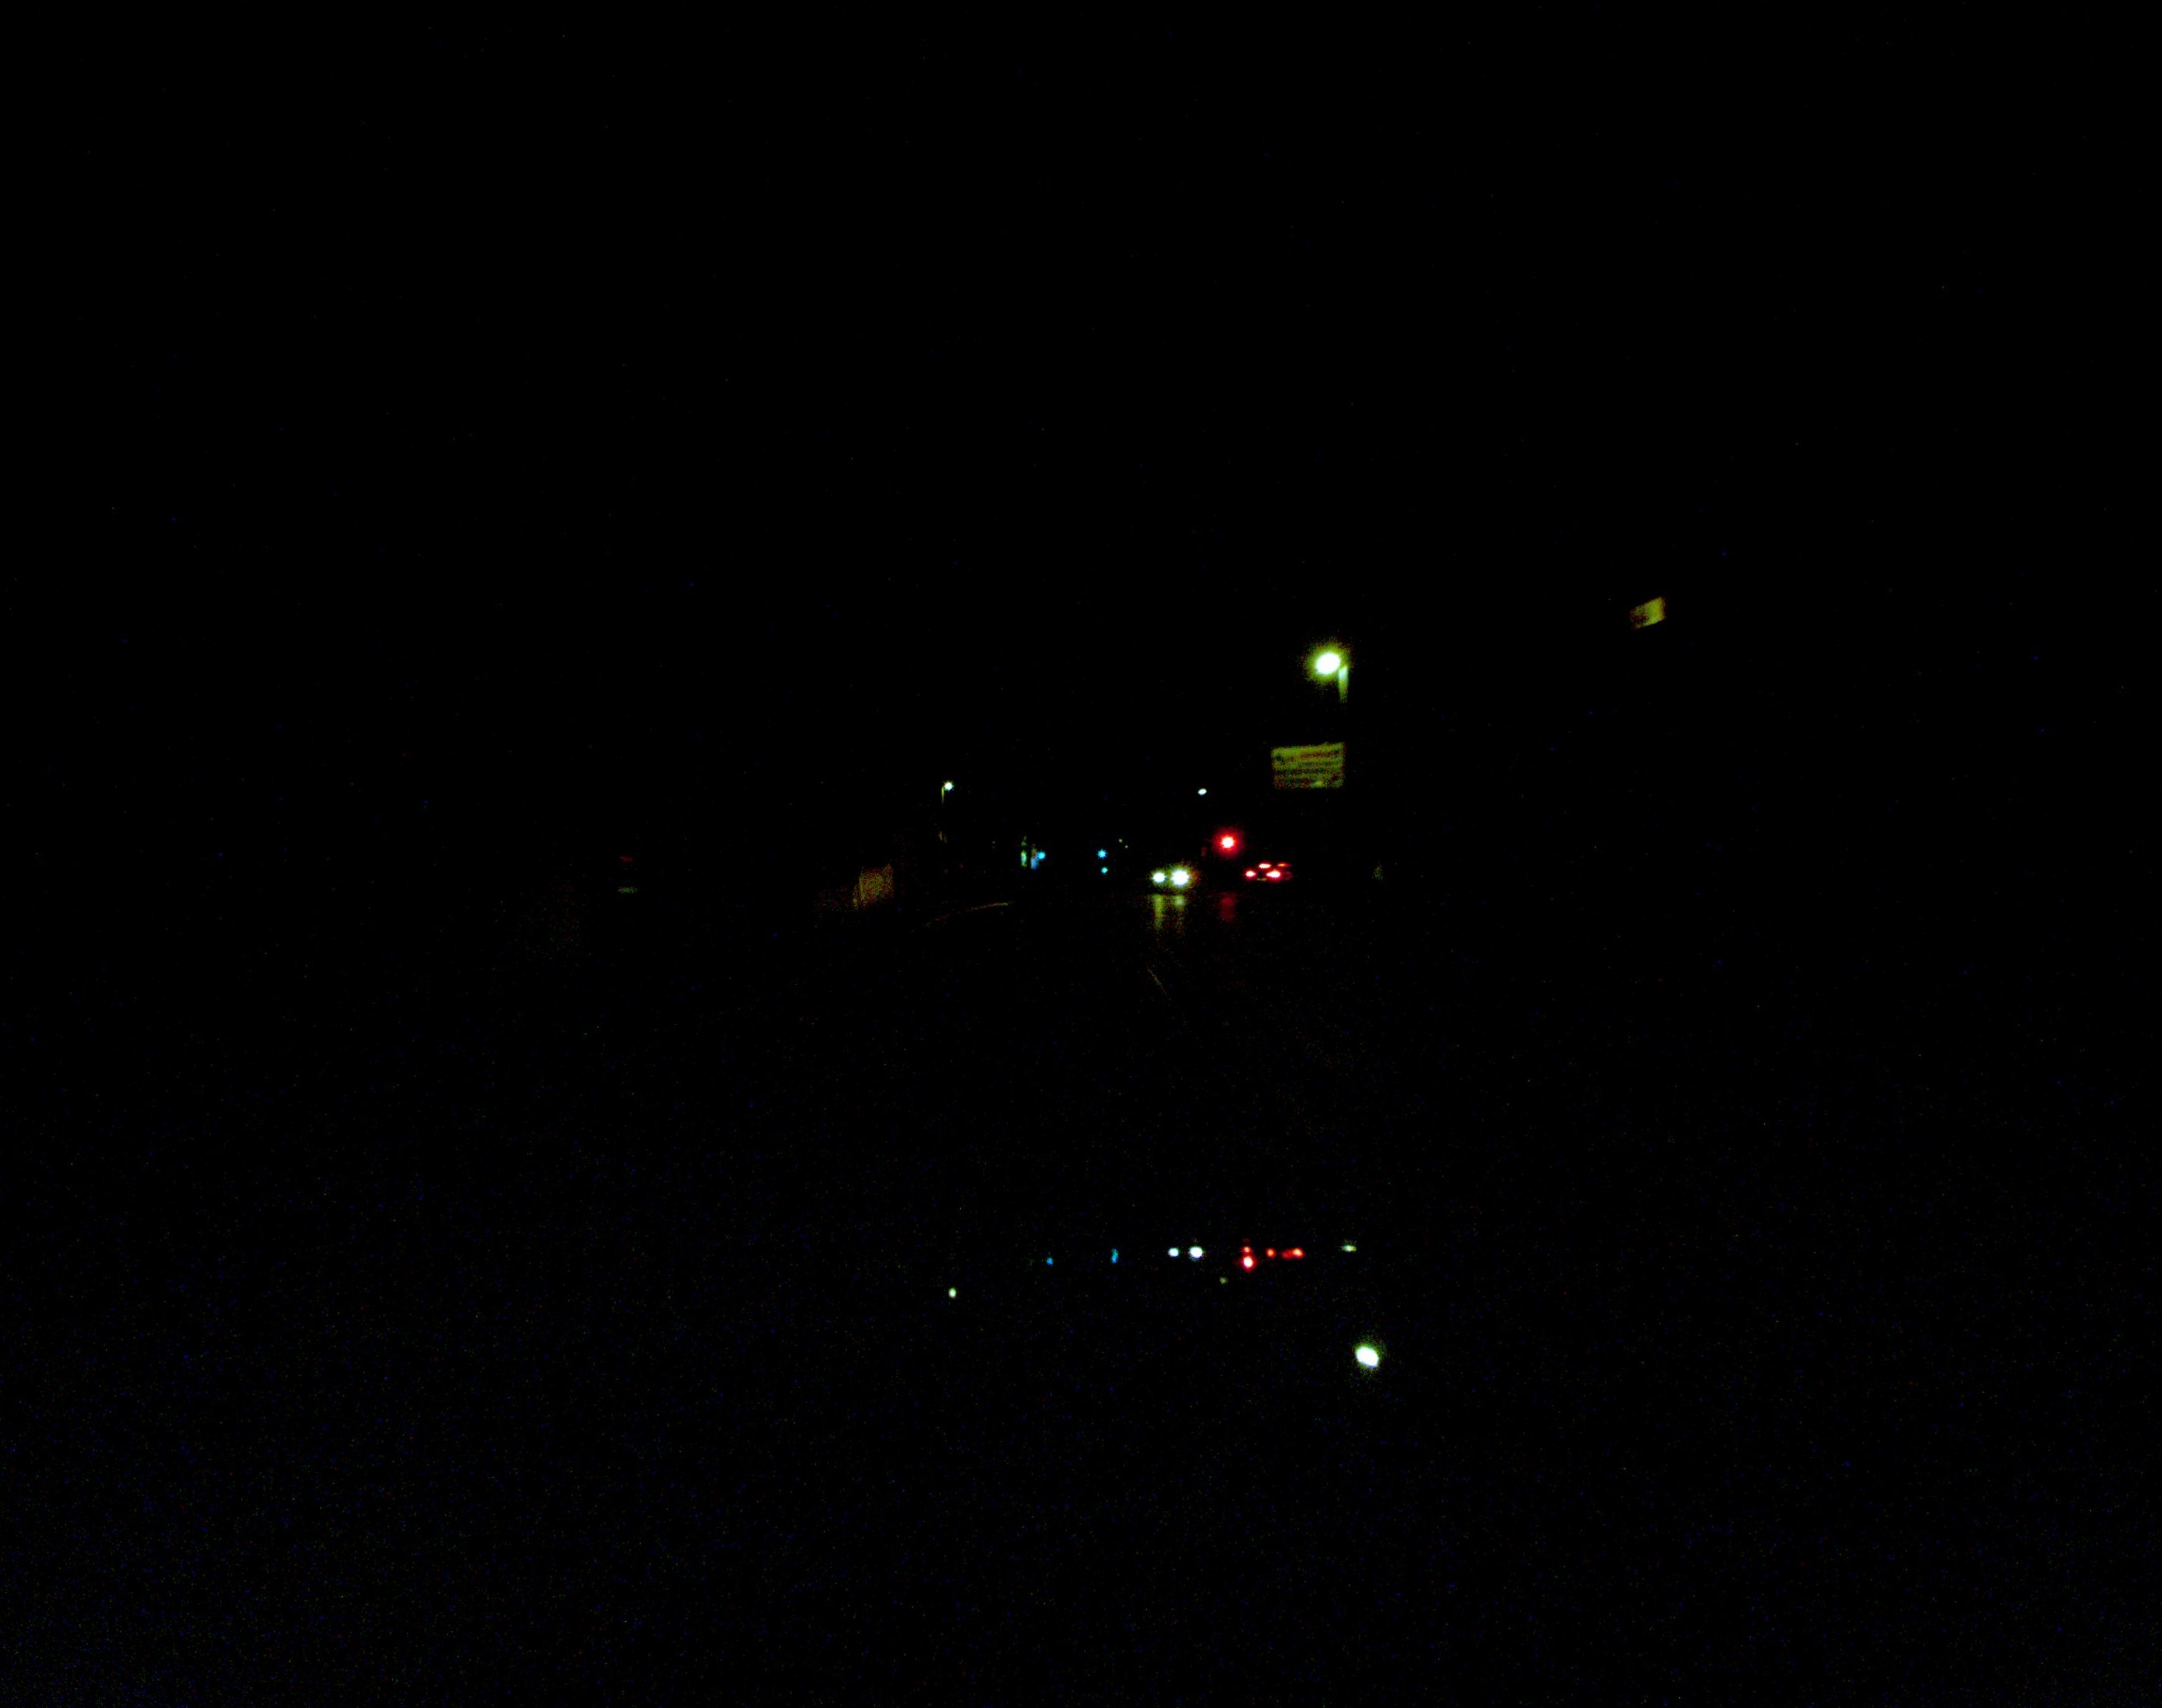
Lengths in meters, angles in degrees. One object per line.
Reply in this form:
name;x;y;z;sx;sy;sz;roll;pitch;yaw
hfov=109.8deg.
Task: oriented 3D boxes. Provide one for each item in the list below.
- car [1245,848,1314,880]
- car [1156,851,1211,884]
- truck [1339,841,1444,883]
car;9.925;0.458;37.796;1.726;1.421;4.298;-2;1;38
car;4.978;0.614;36.650;1.510;1.492;3.056;-1;0;32
truck;24.155;0.546;59.408;2.778;3.028;7.014;-3;3;-44
